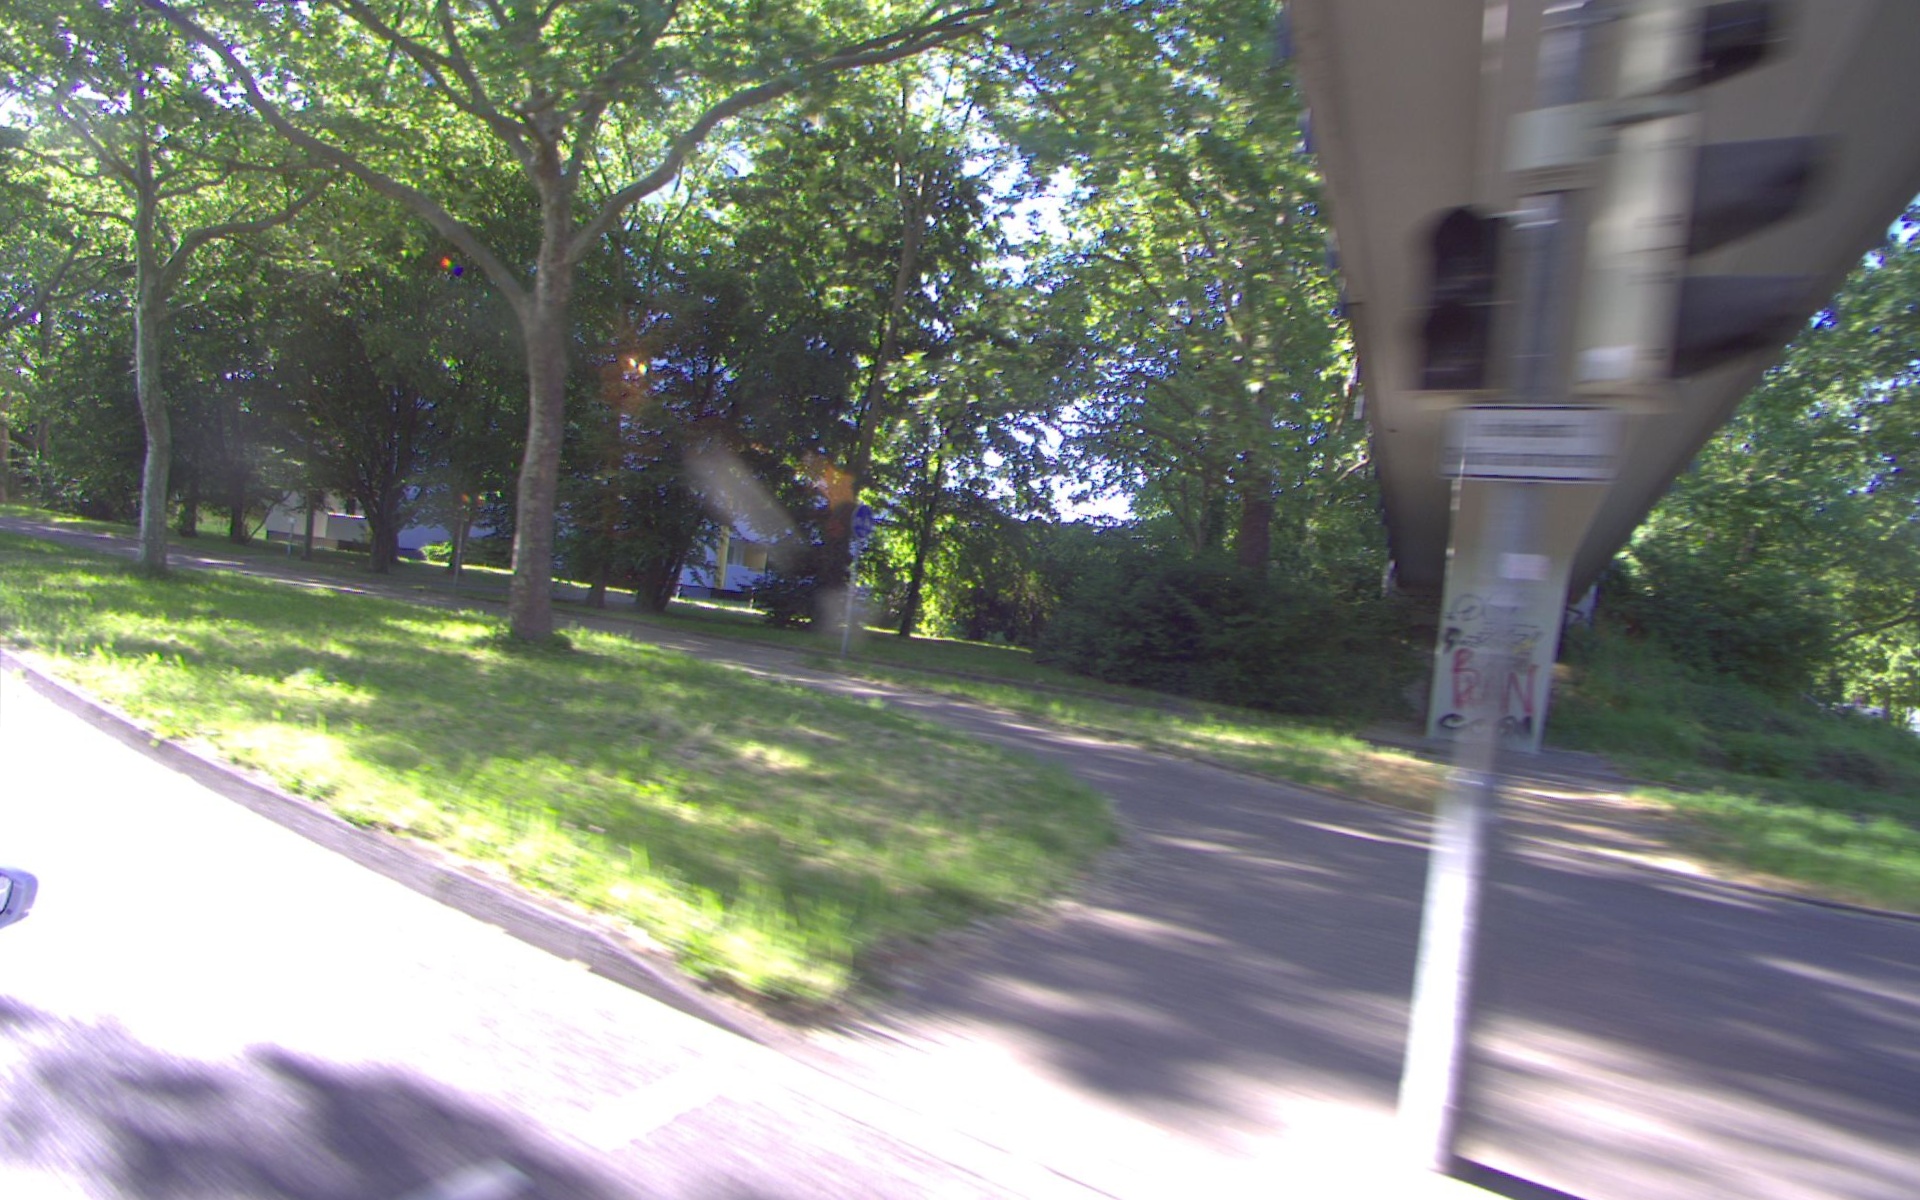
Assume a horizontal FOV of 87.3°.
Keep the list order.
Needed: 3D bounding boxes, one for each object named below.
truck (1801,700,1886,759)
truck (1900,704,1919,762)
[{"bbox_3d":[54.301,7.903,61.959,1.880,3.015,5.186,9,0,22],"label":"truck"},{"bbox_3d":[47.931,6.653,48.605,1.881,2.852,5.182,9,0,26],"label":"truck"}]
